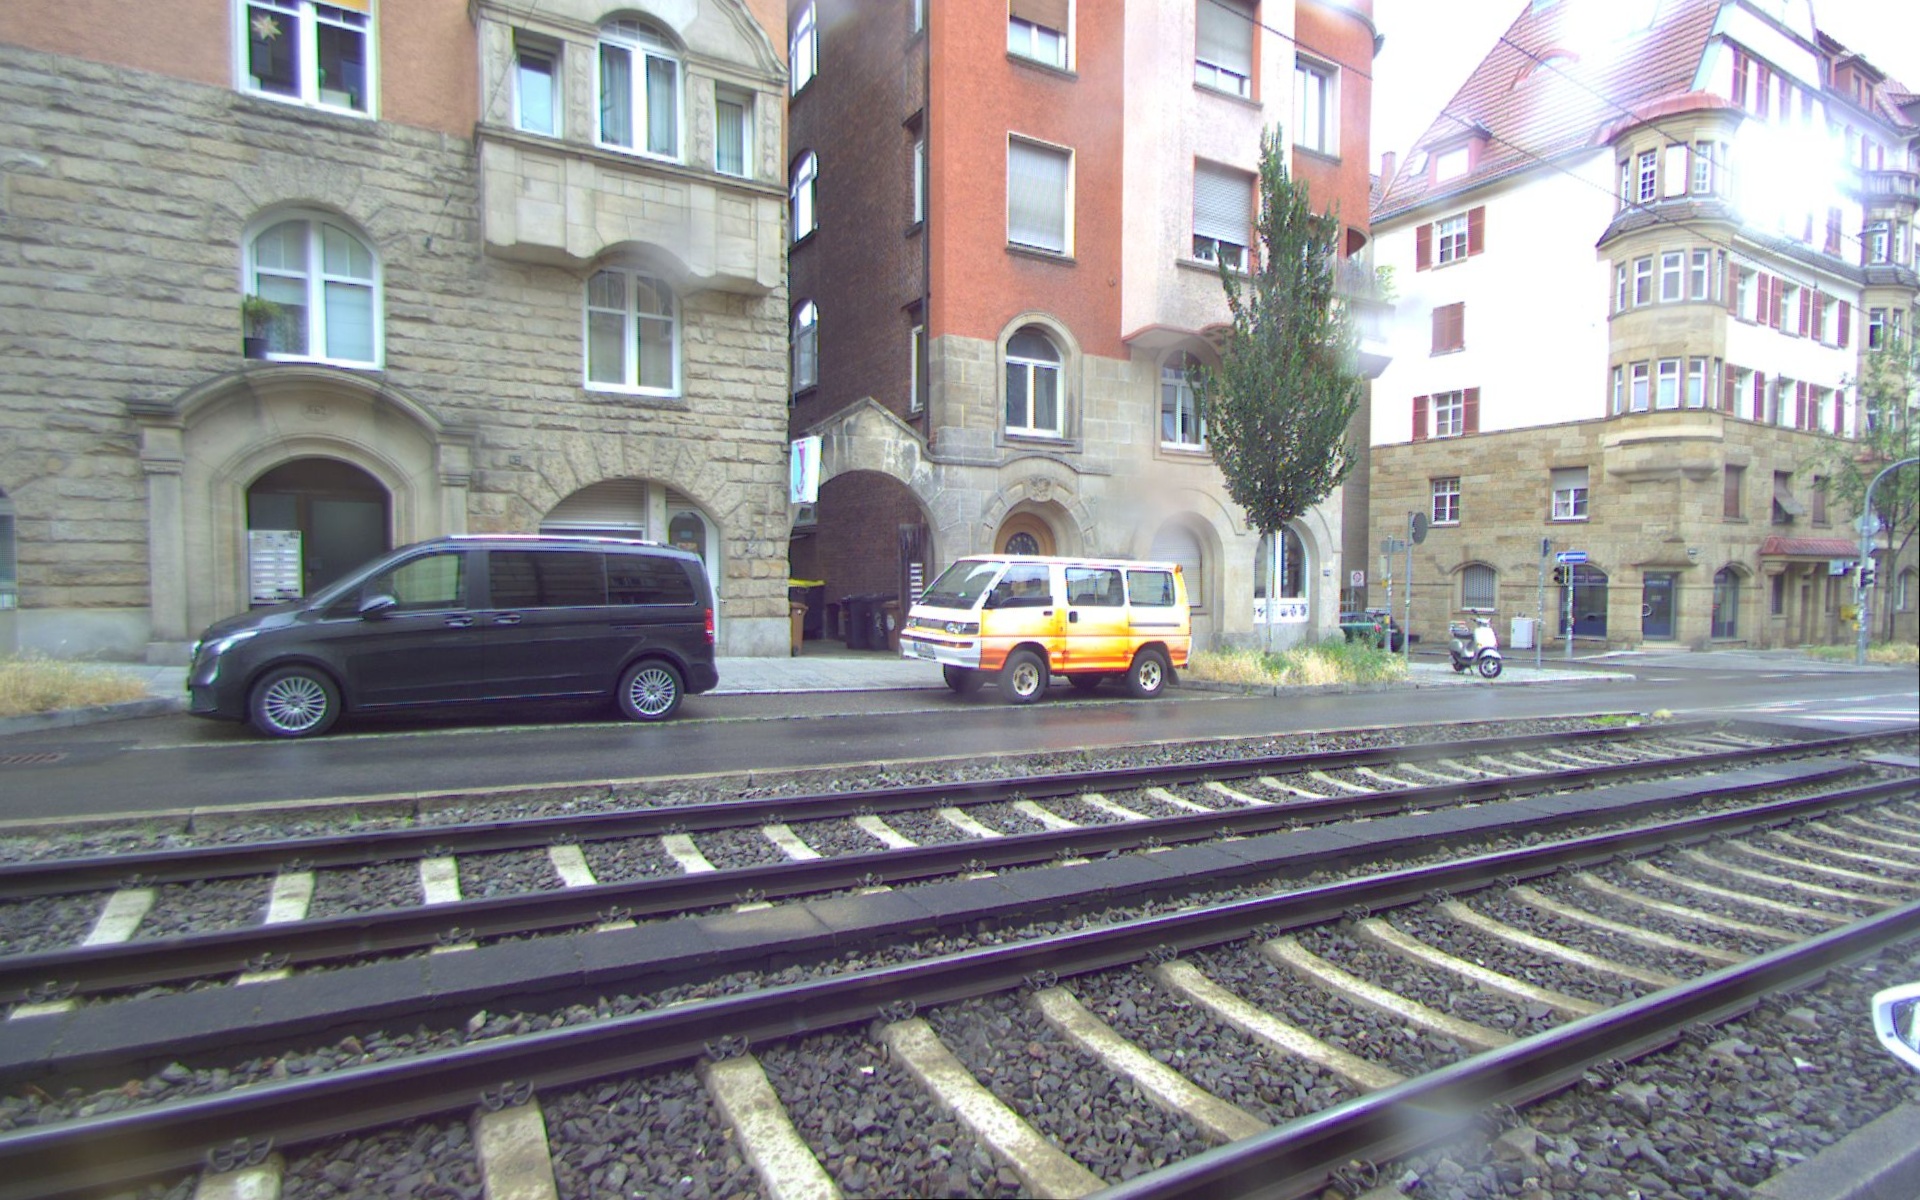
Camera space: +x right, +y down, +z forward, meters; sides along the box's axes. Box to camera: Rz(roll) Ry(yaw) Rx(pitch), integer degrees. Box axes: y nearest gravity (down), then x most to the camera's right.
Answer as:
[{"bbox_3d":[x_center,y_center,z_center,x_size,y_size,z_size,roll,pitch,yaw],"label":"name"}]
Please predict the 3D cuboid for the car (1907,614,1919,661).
[{"bbox_3d":[34.170,1.323,34.354,3.994,1.573,1.741,2,0,-34],"label":"car"}]

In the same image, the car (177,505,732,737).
[{"bbox_3d":[-5.050,0.237,10.598,4.769,1.968,1.984,2,0,-30],"label":"car"}]

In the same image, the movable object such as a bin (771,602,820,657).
[{"bbox_3d":[-2.890,0.506,17.594,0.627,0.918,0.793,1,1,-27],"label":"movable object such as a bin"}]

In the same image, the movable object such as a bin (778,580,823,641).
[{"bbox_3d":[-3.609,0.218,22.660,0.676,1.324,1.154,1,1,-26],"label":"movable object such as a bin"}]

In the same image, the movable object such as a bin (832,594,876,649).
[{"bbox_3d":[-2.082,0.428,19.689,0.607,1.053,0.793,1,-1,-27],"label":"movable object such as a bin"}]

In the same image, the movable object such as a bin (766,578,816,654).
[{"bbox_3d":[-3.105,0.284,18.466,0.648,1.360,0.903,1,1,-27],"label":"movable object such as a bin"}]

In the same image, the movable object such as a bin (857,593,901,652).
[{"bbox_3d":[-1.544,0.423,19.142,0.607,1.090,0.679,1,-1,-27],"label":"movable object such as a bin"}]

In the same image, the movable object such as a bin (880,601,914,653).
[{"bbox_3d":[-1.172,0.499,18.634,0.442,0.957,0.557,1,-1,-27],"label":"movable object such as a bin"}]

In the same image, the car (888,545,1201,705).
[{"bbox_3d":[1.276,0.364,14.442,4.295,2.001,1.721,2,0,-32],"label":"car"}]

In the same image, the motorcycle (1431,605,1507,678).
[{"bbox_3d":[10.108,0.793,20.003,0.612,1.384,1.596,2,0,-3],"label":"motorcycle"}]

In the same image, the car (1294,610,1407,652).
[{"bbox_3d":[14.464,1.136,37.345,1.683,1.423,3.618,2,0,-34],"label":"car"}]
